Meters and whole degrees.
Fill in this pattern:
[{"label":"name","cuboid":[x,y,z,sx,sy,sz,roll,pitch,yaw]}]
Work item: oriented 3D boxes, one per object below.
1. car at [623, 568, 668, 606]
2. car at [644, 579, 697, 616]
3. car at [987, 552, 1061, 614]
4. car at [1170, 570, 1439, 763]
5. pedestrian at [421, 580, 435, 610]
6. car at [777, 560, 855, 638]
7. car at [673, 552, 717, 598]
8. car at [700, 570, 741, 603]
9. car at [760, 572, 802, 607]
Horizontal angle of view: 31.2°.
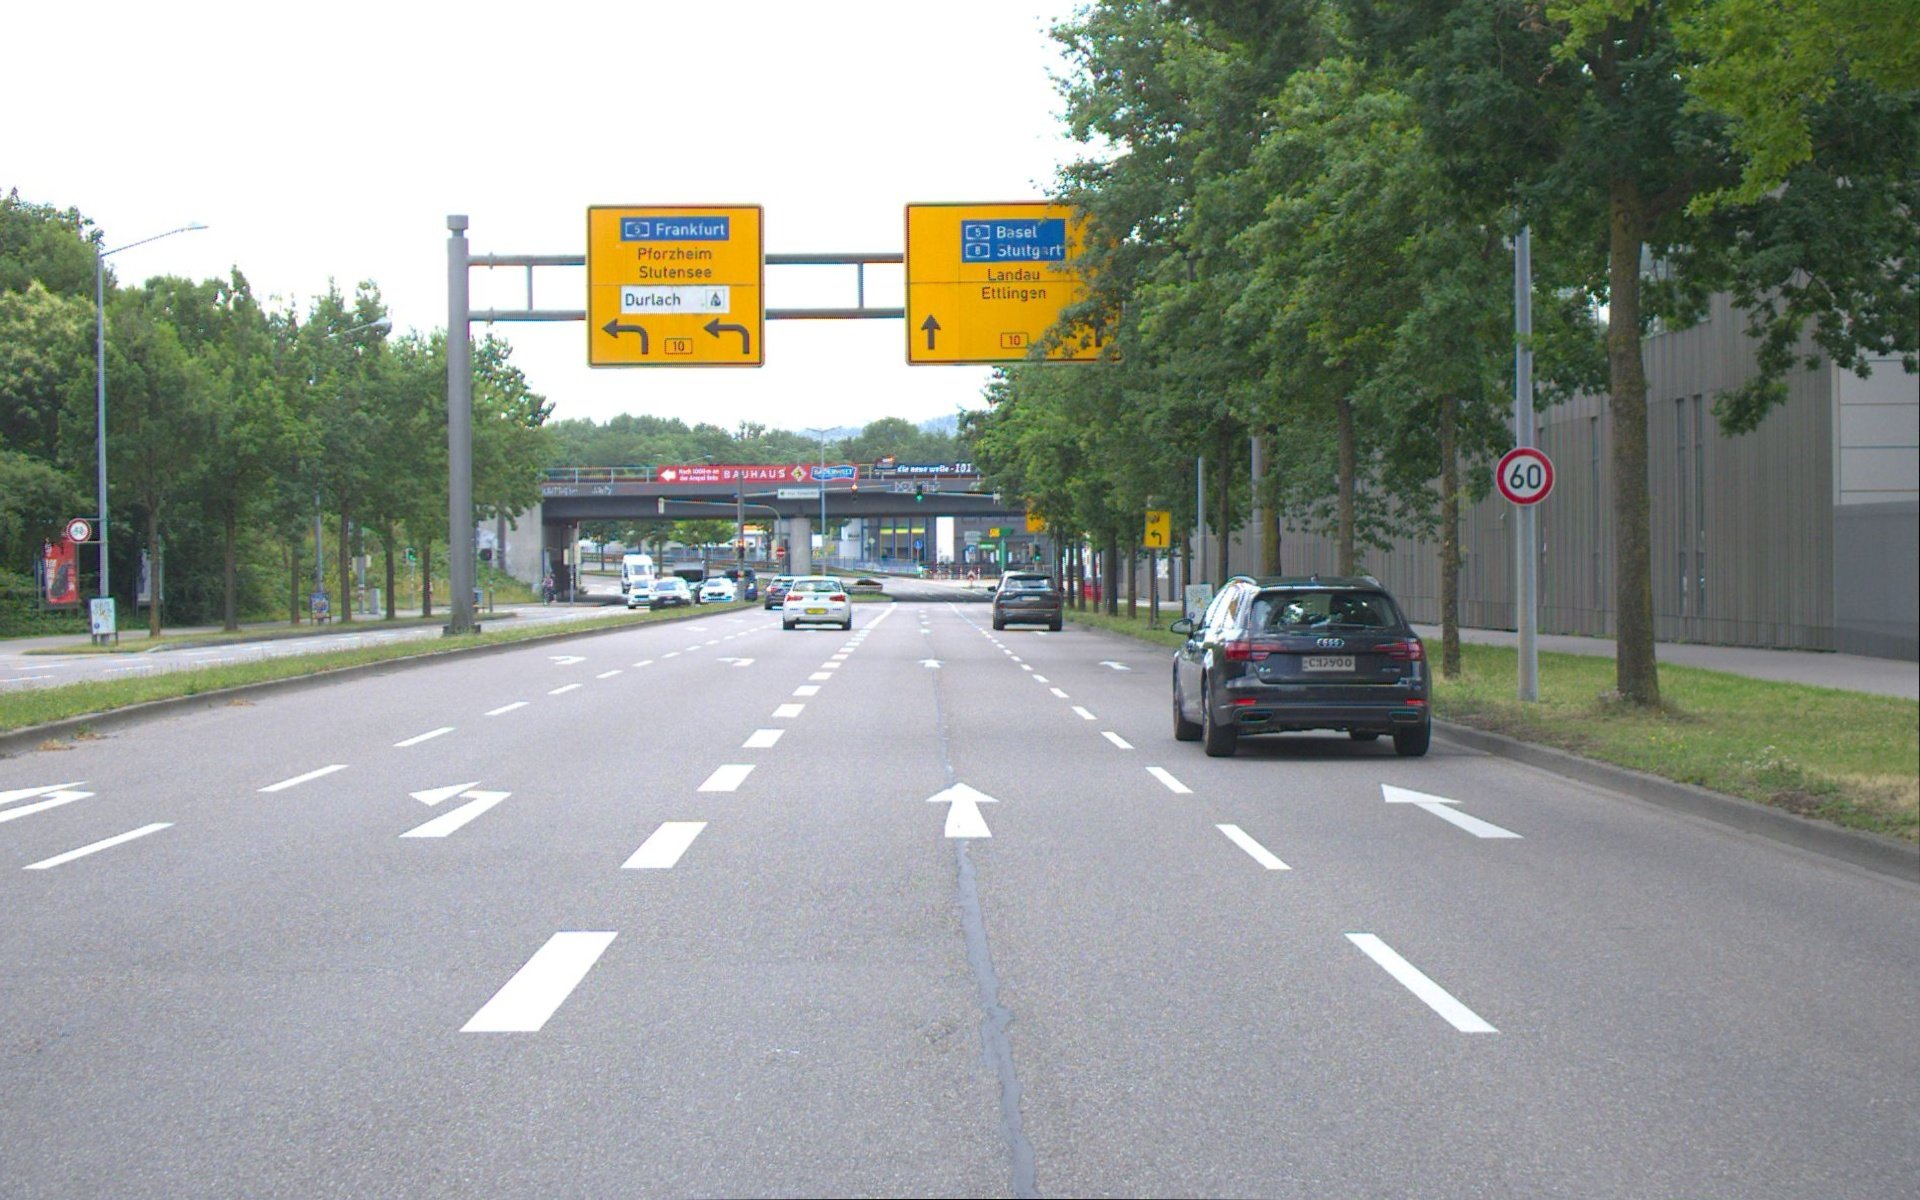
[{"label":"car","cuboid":[-15.729,-0.649,172.071,1.993,1.777,4.000,1,-1,-2]},{"label":"car","cuboid":[-12.950,-0.126,154.155,1.993,1.612,4.000,-1,0,1]},{"label":"car","cuboid":[1.785,-0.487,95.344,1.993,1.620,4.309,-1,1,1]},{"label":"car","cuboid":[2.774,0.503,28.444,1.683,1.458,4.000,1,0,-2]},{"label":"pedestrian","cuboid":[-25.170,-0.239,162.645,0.558,1.395,0.563,1,-1,-2]},{"label":"car","cuboid":[-3.883,-0.036,92.076,1.993,2.007,4.000,1,0,-3]},{"label":"car","cuboid":[-16.087,-1.490,208.940,1.994,2.631,5.236,1,-1,2]},{"label":"car","cuboid":[-13.118,-0.752,188.379,1.993,1.711,4.000,1,-1,-1]},{"label":"car","cuboid":[-7.751,-0.457,148.643,1.774,1.458,4.000,1,0,-3]}]
